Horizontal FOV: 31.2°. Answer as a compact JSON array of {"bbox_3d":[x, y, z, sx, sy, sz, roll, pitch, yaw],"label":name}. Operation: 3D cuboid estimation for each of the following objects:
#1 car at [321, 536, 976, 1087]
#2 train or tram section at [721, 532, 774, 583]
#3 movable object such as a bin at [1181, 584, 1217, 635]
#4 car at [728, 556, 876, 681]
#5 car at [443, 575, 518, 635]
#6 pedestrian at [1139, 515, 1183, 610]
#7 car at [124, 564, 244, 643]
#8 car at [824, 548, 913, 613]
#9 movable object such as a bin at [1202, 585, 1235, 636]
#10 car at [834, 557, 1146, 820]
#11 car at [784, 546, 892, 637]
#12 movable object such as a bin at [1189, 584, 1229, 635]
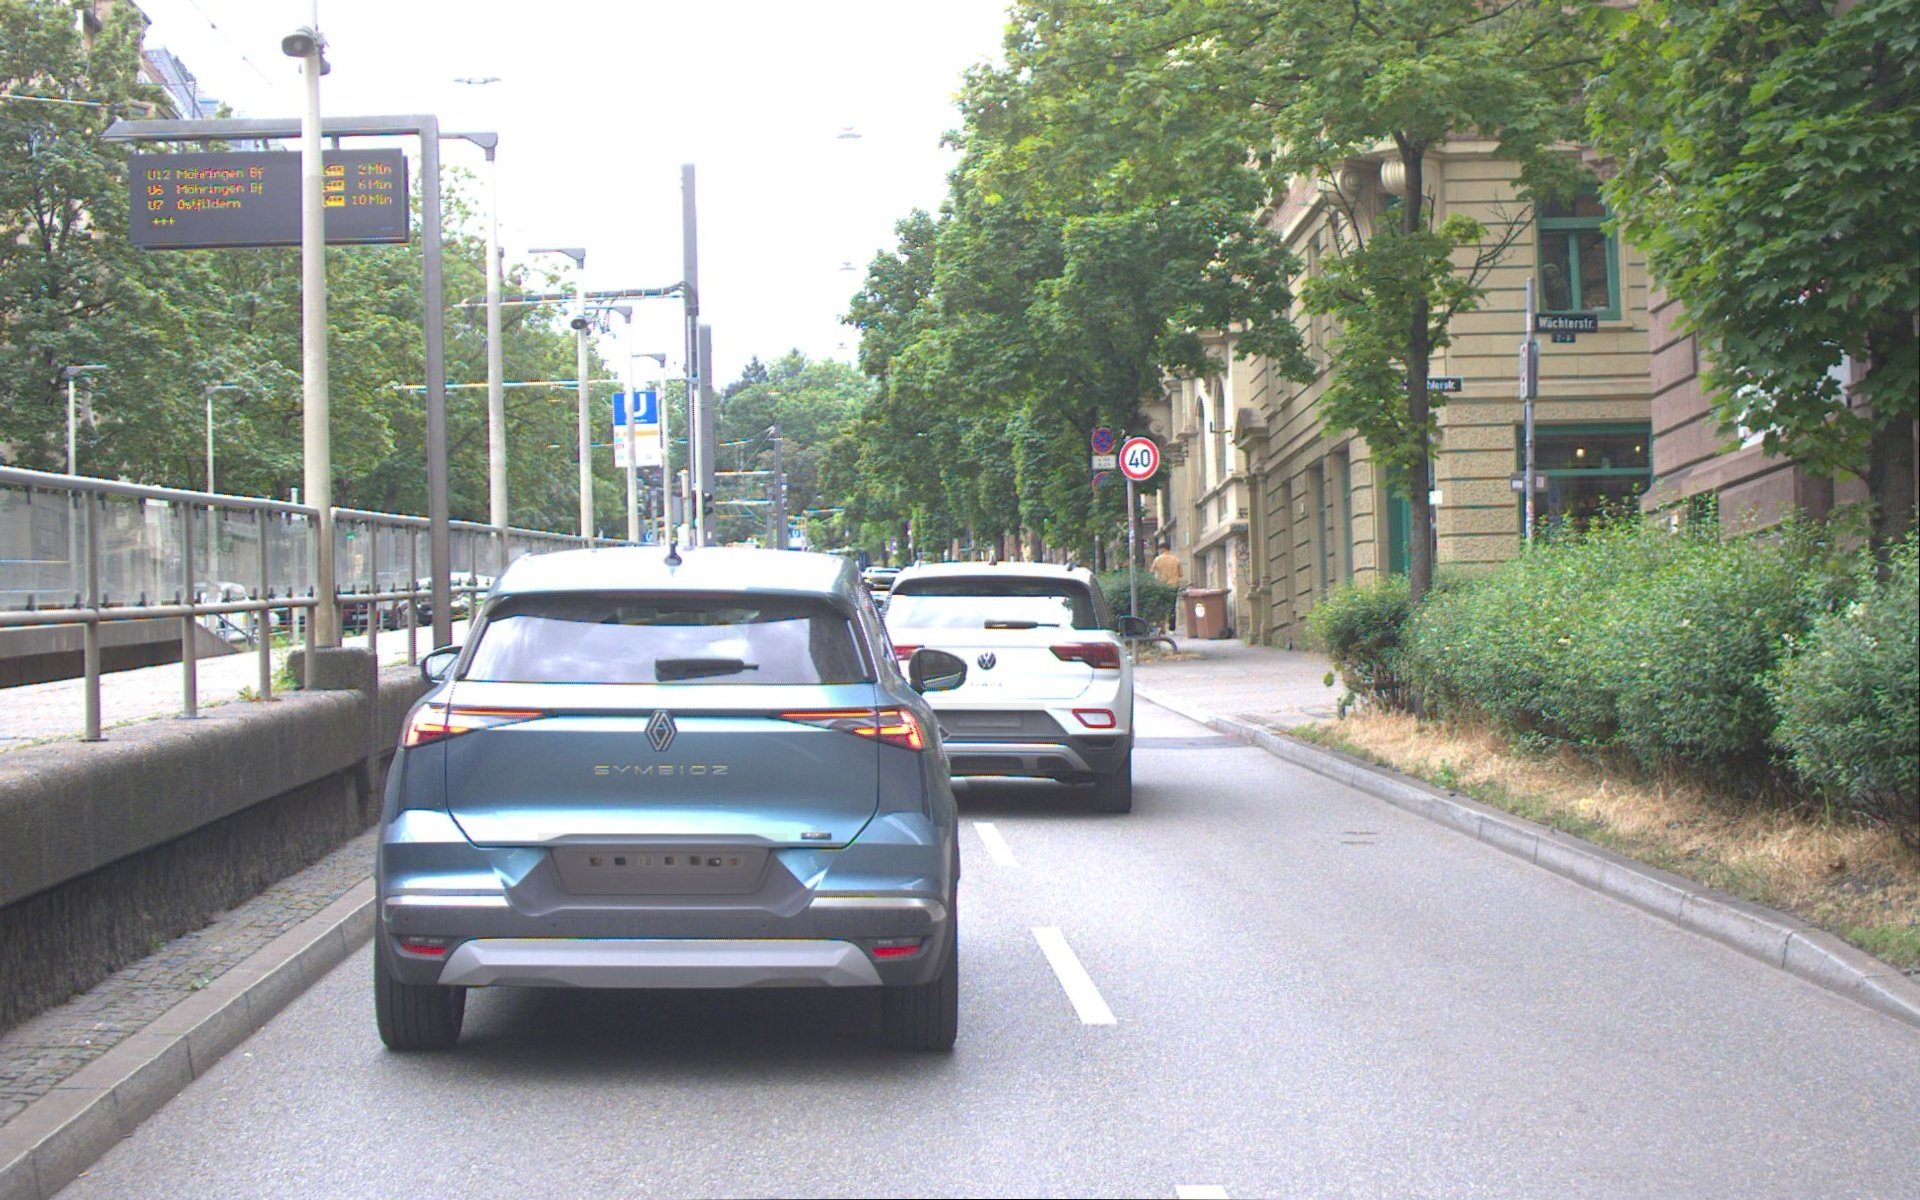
[{"bbox_3d":[-0.933,0.592,11.820,1.835,1.541,4.194,1,0,-1],"label":"car"},{"bbox_3d":[-14.644,-2.910,237.906,2.996,3.337,13.439,-1,0,-1],"label":"train or tram section"},{"bbox_3d":[4.492,0.173,64.627,0.611,0.916,0.493,-3,0,1],"label":"movable object such as a bin"},{"bbox_3d":[-2.030,0.219,45.056,1.835,1.541,4.194,1,0,-1],"label":"car"},{"bbox_3d":[-14.536,0.138,104.350,1.709,1.730,4.577,-1,1,-1],"label":"car"},{"bbox_3d":[3.942,-0.732,67.552,0.685,1.823,1.121,-3,0,-2],"label":"pedestrian"},{"bbox_3d":[-17.766,0.052,78.836,1.935,1.674,4.000,-2,1,-2],"label":"car"},{"bbox_3d":[-2.218,-0.475,84.615,2.068,1.541,4.193,1,0,0],"label":"car"},{"bbox_3d":[4.762,0.188,63.389,0.500,0.916,0.443,-1,1,18],"label":"movable object such as a bin"},{"bbox_3d":[0.202,0.516,22.480,1.835,1.541,4.193,1,0,1],"label":"car"},{"bbox_3d":[-2.141,-0.150,60.967,1.835,1.541,4.194,1,0,-1],"label":"car"},{"bbox_3d":[4.637,0.182,64.040,0.500,0.916,0.493,-3,0,-43],"label":"movable object such as a bin"}]
